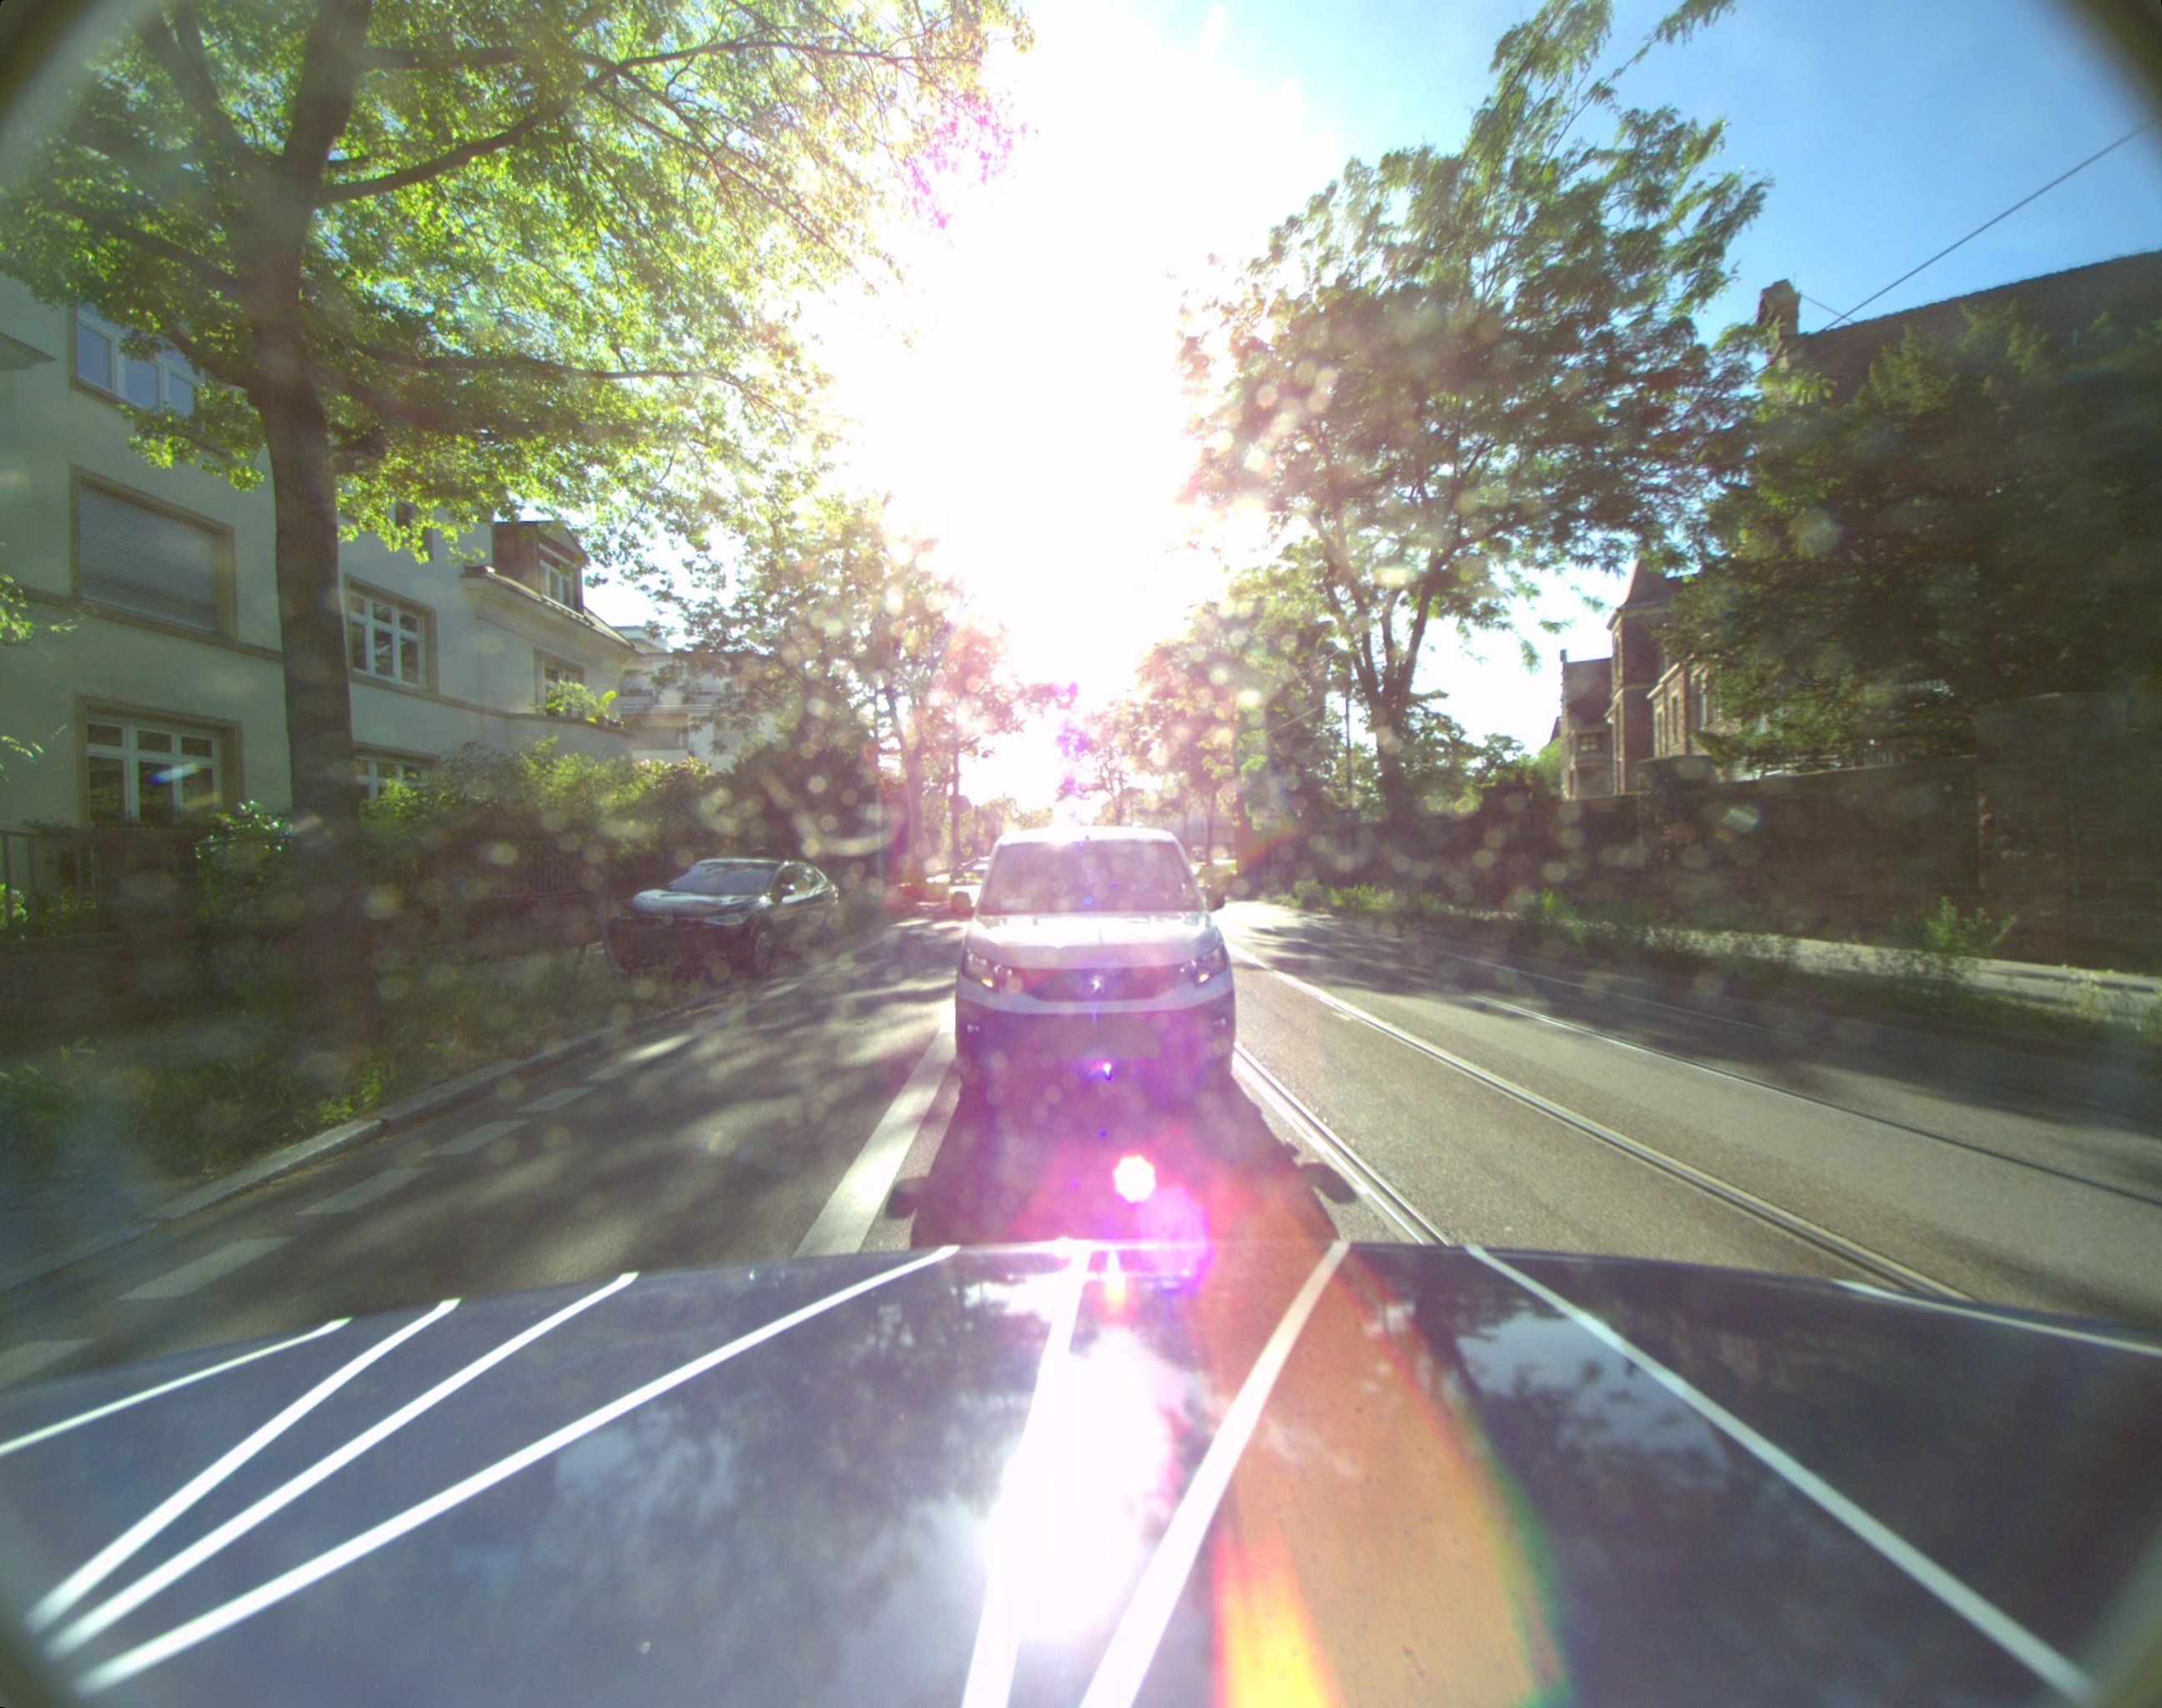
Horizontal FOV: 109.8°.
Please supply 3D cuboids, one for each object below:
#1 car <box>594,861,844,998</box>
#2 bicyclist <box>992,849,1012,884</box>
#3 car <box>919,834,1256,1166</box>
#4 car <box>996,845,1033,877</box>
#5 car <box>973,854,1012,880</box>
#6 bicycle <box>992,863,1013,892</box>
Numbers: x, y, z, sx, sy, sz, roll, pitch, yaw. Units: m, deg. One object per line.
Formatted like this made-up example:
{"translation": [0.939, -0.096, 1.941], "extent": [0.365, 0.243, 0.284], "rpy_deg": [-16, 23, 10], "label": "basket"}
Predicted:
{"translation": [-5.139, 0.952, 11.486], "extent": [1.743, 1.597, 4.091], "rpy_deg": [2, 0, 1], "label": "car"}
{"translation": [-3.374, 0.520, 32.467], "extent": [0.645, 1.479, 1.115], "rpy_deg": [-2, 1, 1], "label": "bicyclist"}
{"translation": [0.052, 0.792, 6.535], "extent": [1.793, 1.770, 4.786], "rpy_deg": [-2, 0, 0], "label": "car"}
{"translation": [-4.496, 0.443, 51.929], "extent": [1.998, 2.002, 4.583], "rpy_deg": [-2, 0, 1], "label": "car"}
{"translation": [-5.248, 0.764, 45.463], "extent": [1.787, 1.443, 4.000], "rpy_deg": [-2, 0, 1], "label": "car"}
{"translation": [-3.358, 0.980, 32.468], "extent": [0.644, 1.137, 1.902], "rpy_deg": [-1, 0, 1], "label": "bicycle"}
